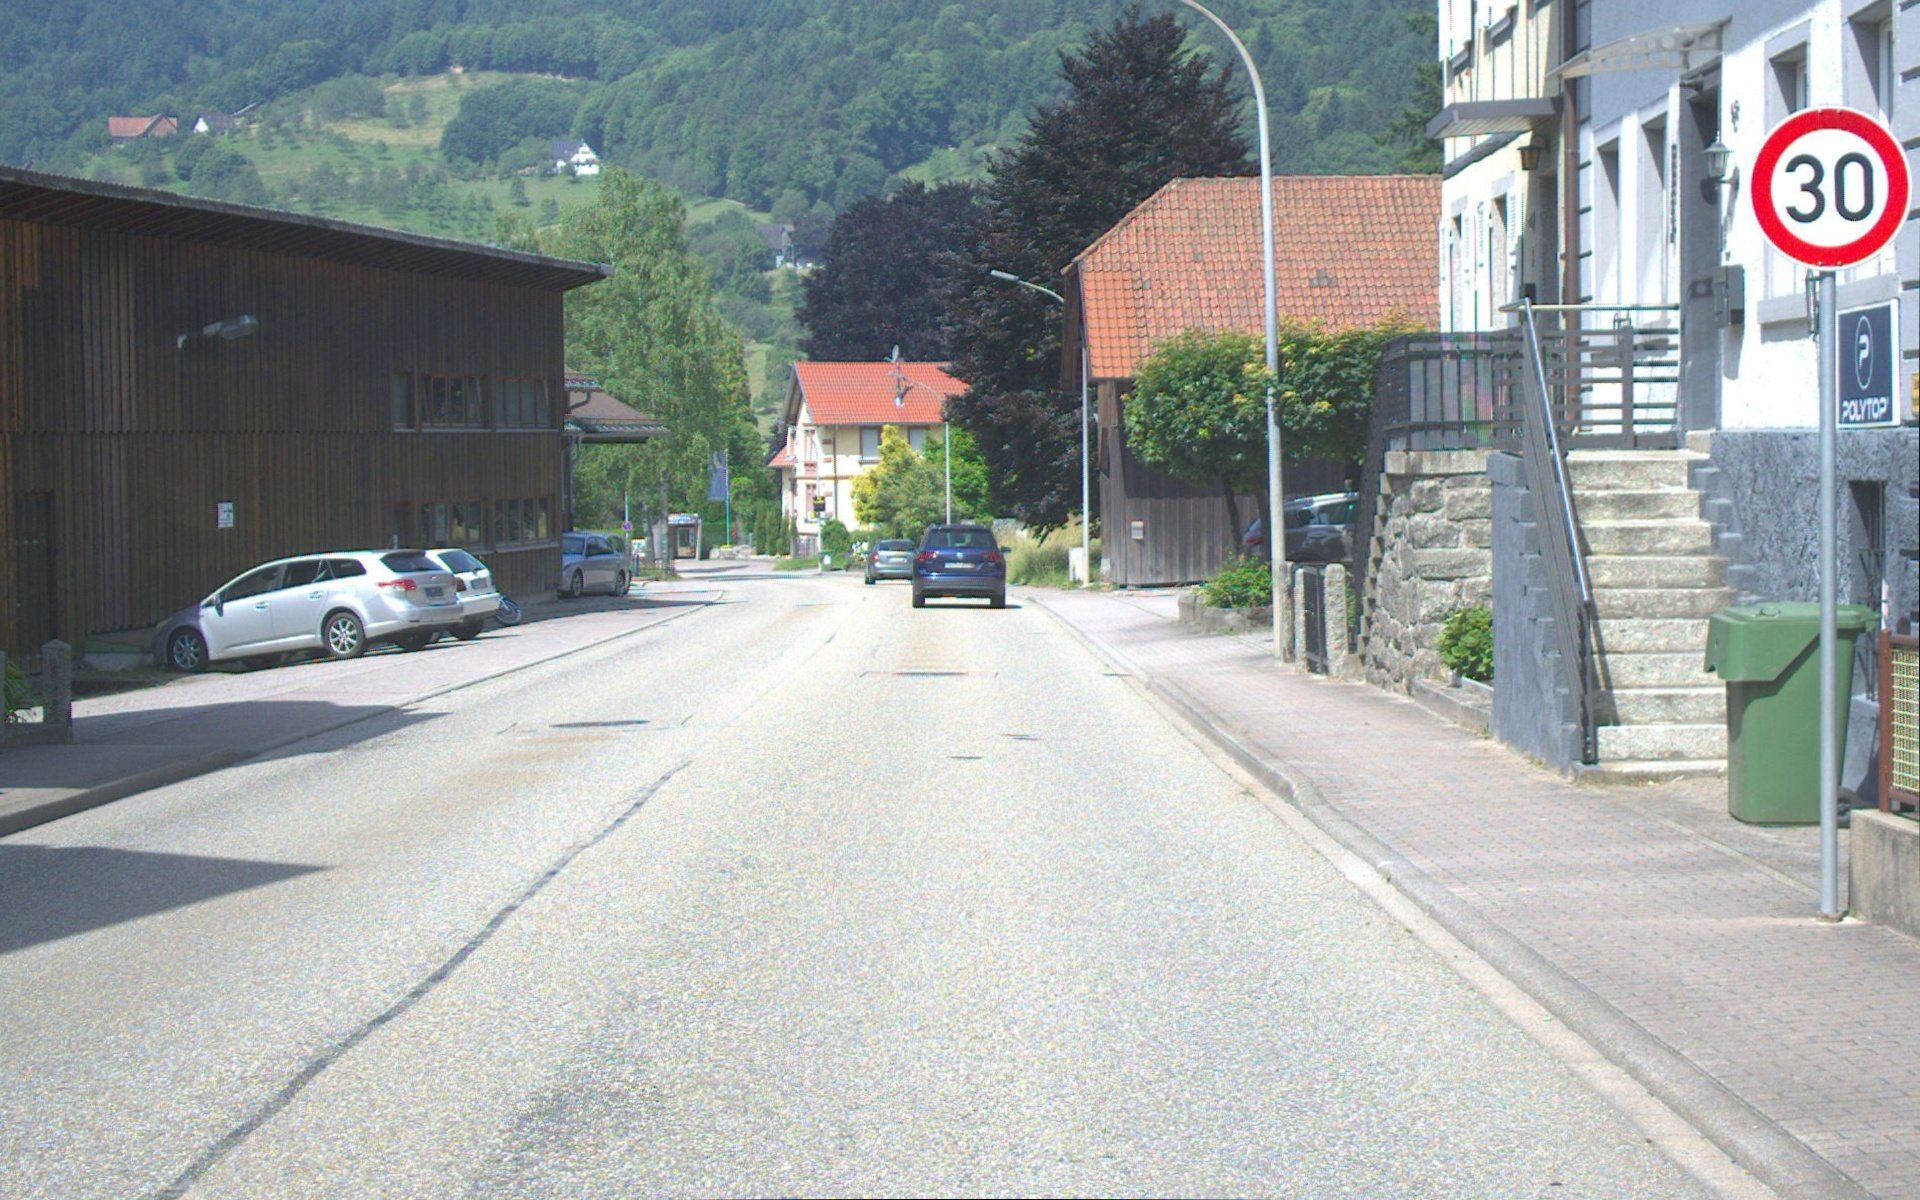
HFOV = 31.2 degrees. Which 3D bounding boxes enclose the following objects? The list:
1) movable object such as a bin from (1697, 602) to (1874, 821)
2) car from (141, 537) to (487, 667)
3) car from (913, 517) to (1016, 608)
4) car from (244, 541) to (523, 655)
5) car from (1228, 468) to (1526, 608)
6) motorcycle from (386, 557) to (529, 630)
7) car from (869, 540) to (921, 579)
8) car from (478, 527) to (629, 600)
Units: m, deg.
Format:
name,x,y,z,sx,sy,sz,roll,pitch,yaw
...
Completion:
name,x,y,z,sx,sy,sz,roll,pitch,yaw
movable object such as a bin,4.004,0.534,16.712,0.704,1.017,0.618,-1,1,1
car,-9.140,0.028,48.632,4.435,1.469,1.922,-4,1,26
car,0.076,-0.749,67.617,1.919,1.692,3.788,-2,1,0
car,-8.654,-0.041,51.672,3.661,1.381,1.710,-5,0,15
car,6.235,-0.937,51.809,4.221,1.681,1.776,-5,1,4
motorcycle,-9.071,-0.121,62.093,2.409,1.260,0.743,-1,1,10
car,-2.125,-1.326,111.772,1.476,1.205,2.384,-2,1,-5
car,-8.854,-0.825,75.278,1.730,1.449,4.802,0,2,13
